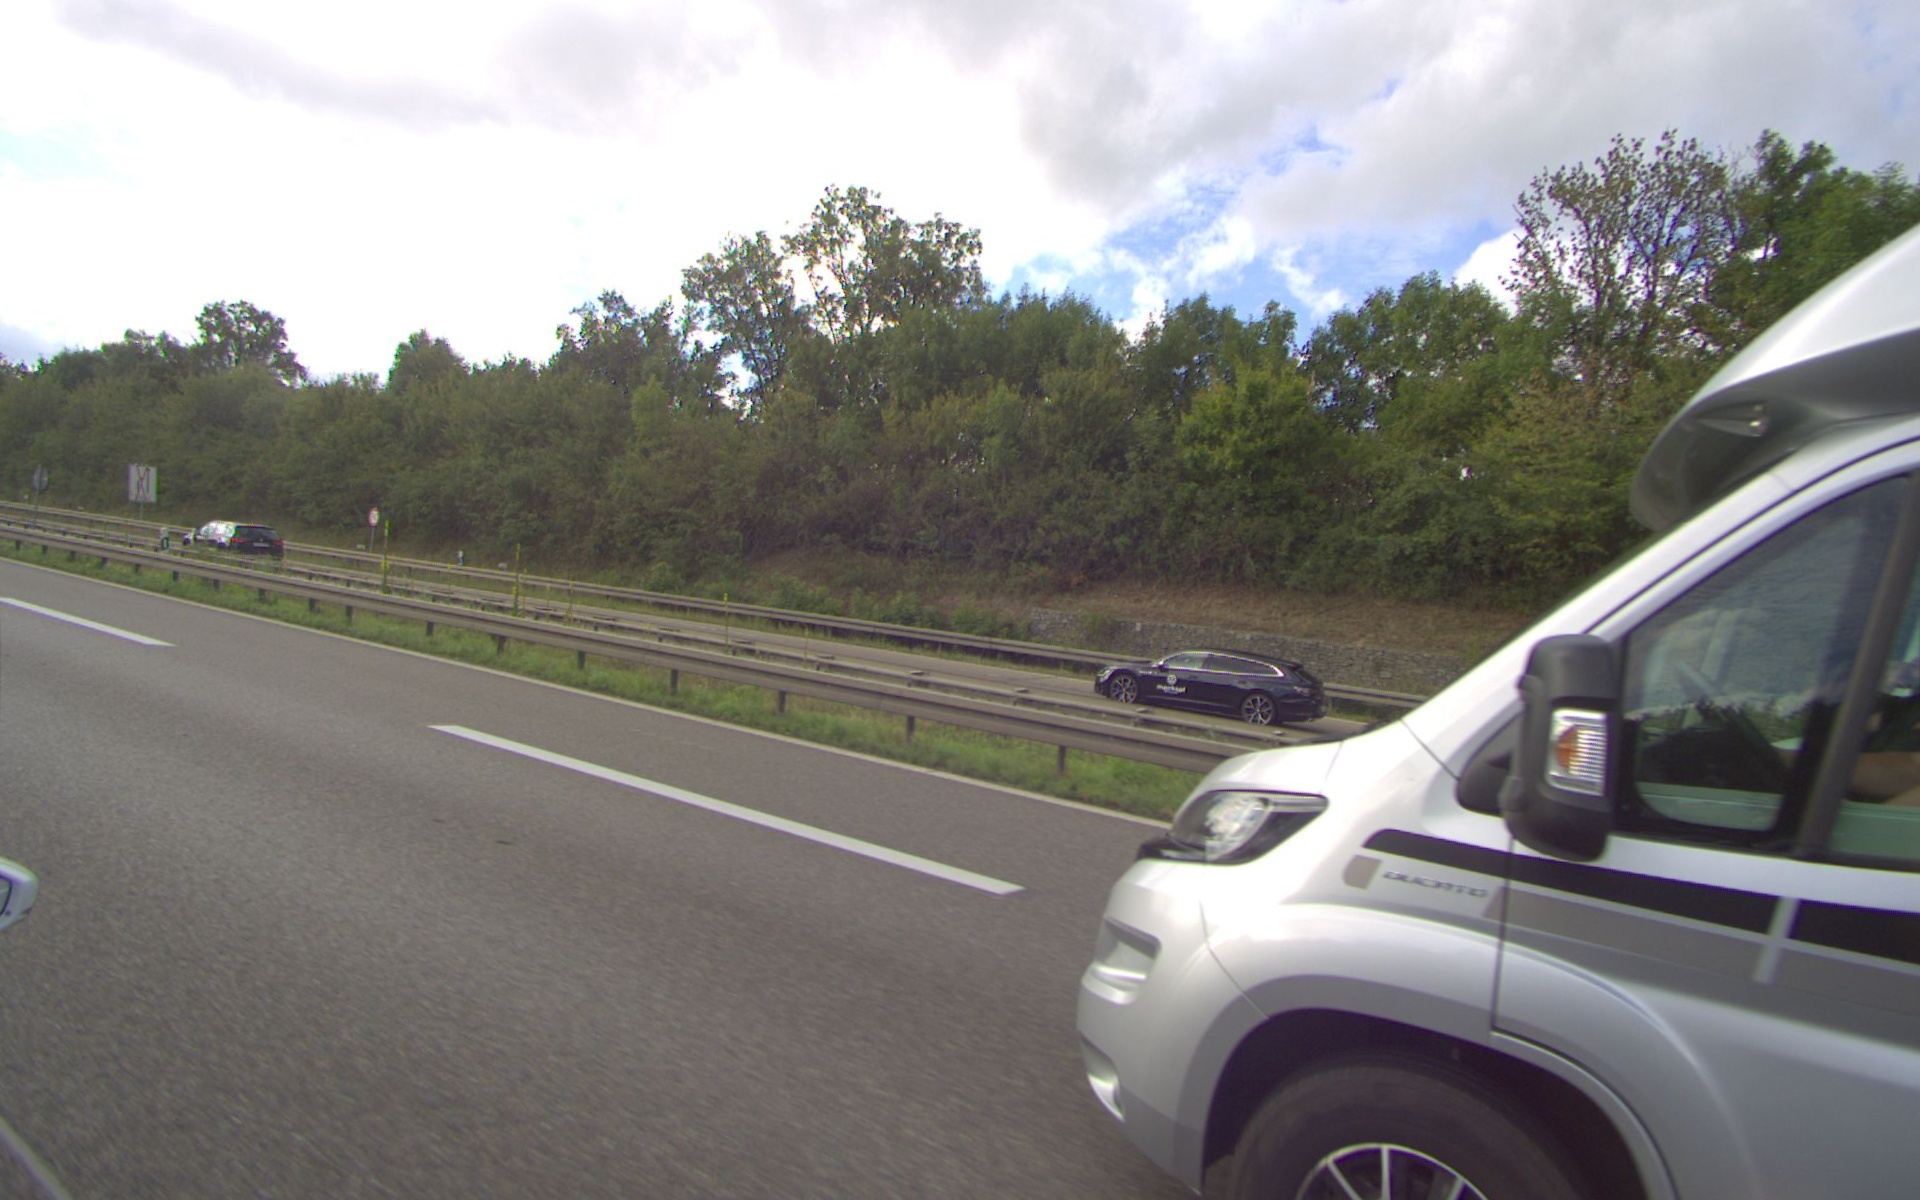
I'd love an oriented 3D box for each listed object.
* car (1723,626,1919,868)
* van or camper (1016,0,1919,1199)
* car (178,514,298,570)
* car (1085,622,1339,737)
[{"bbox_3d":[13.118,2.028,11.420,6.628,2.586,2.072,7,1,30],"label":"car"},{"bbox_3d":[4.072,0.670,1.230,7.534,2.754,2.473,7,-1,32],"label":"van or camper"},{"bbox_3d":[-25.670,-2.063,35.719,4.450,1.504,1.844,7,2,32],"label":"car"},{"bbox_3d":[5.202,1.561,20.969,4.684,1.623,1.844,7,2,31],"label":"car"}]
